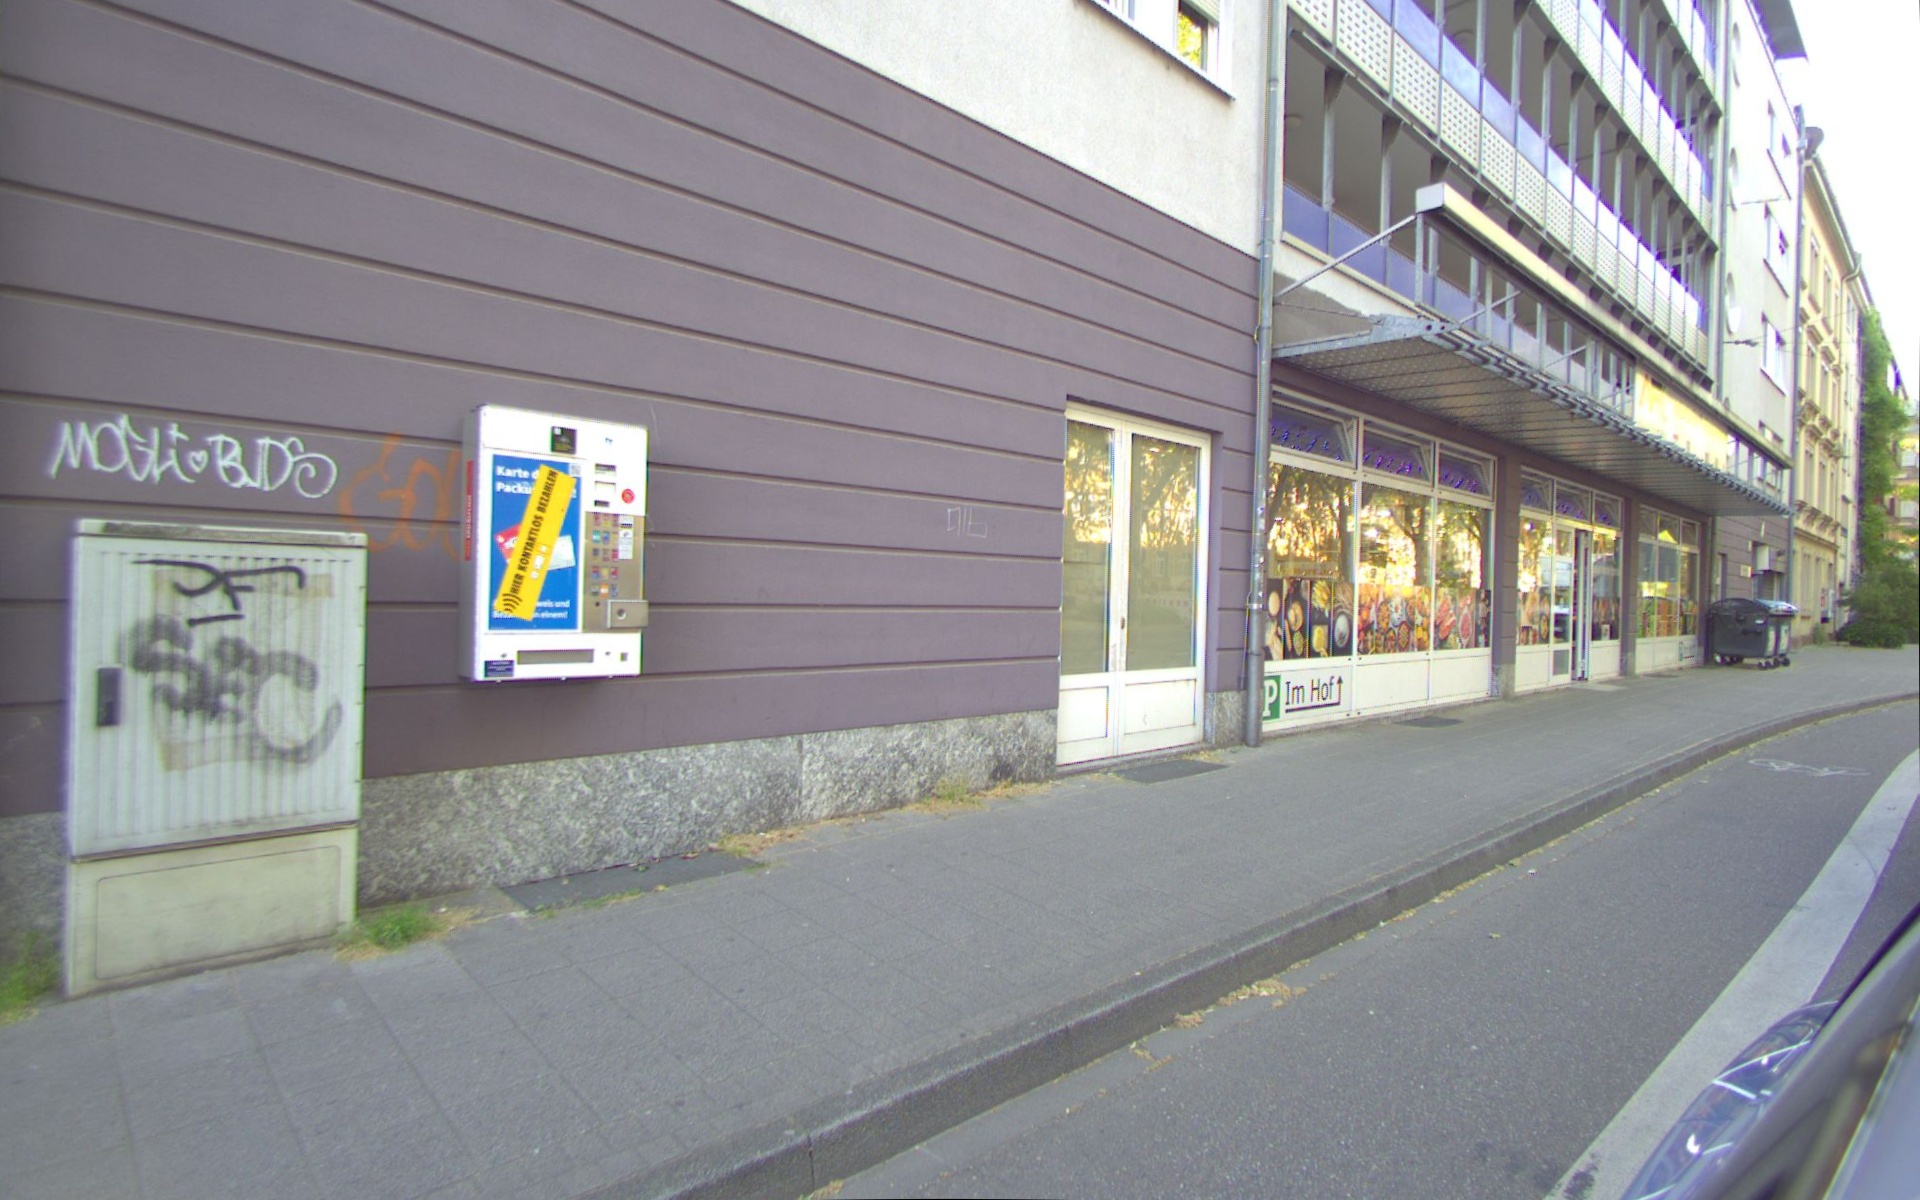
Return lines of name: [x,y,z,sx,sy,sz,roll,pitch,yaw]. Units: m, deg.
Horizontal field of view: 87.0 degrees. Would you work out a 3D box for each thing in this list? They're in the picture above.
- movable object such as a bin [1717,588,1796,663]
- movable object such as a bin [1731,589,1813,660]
movable object such as a bin: [16.433,0.500,20.882,1.274,1.465,1.068,1,1,-42]
movable object such as a bin: [17.782,0.520,22.169,1.282,1.464,1.123,1,1,-38]
